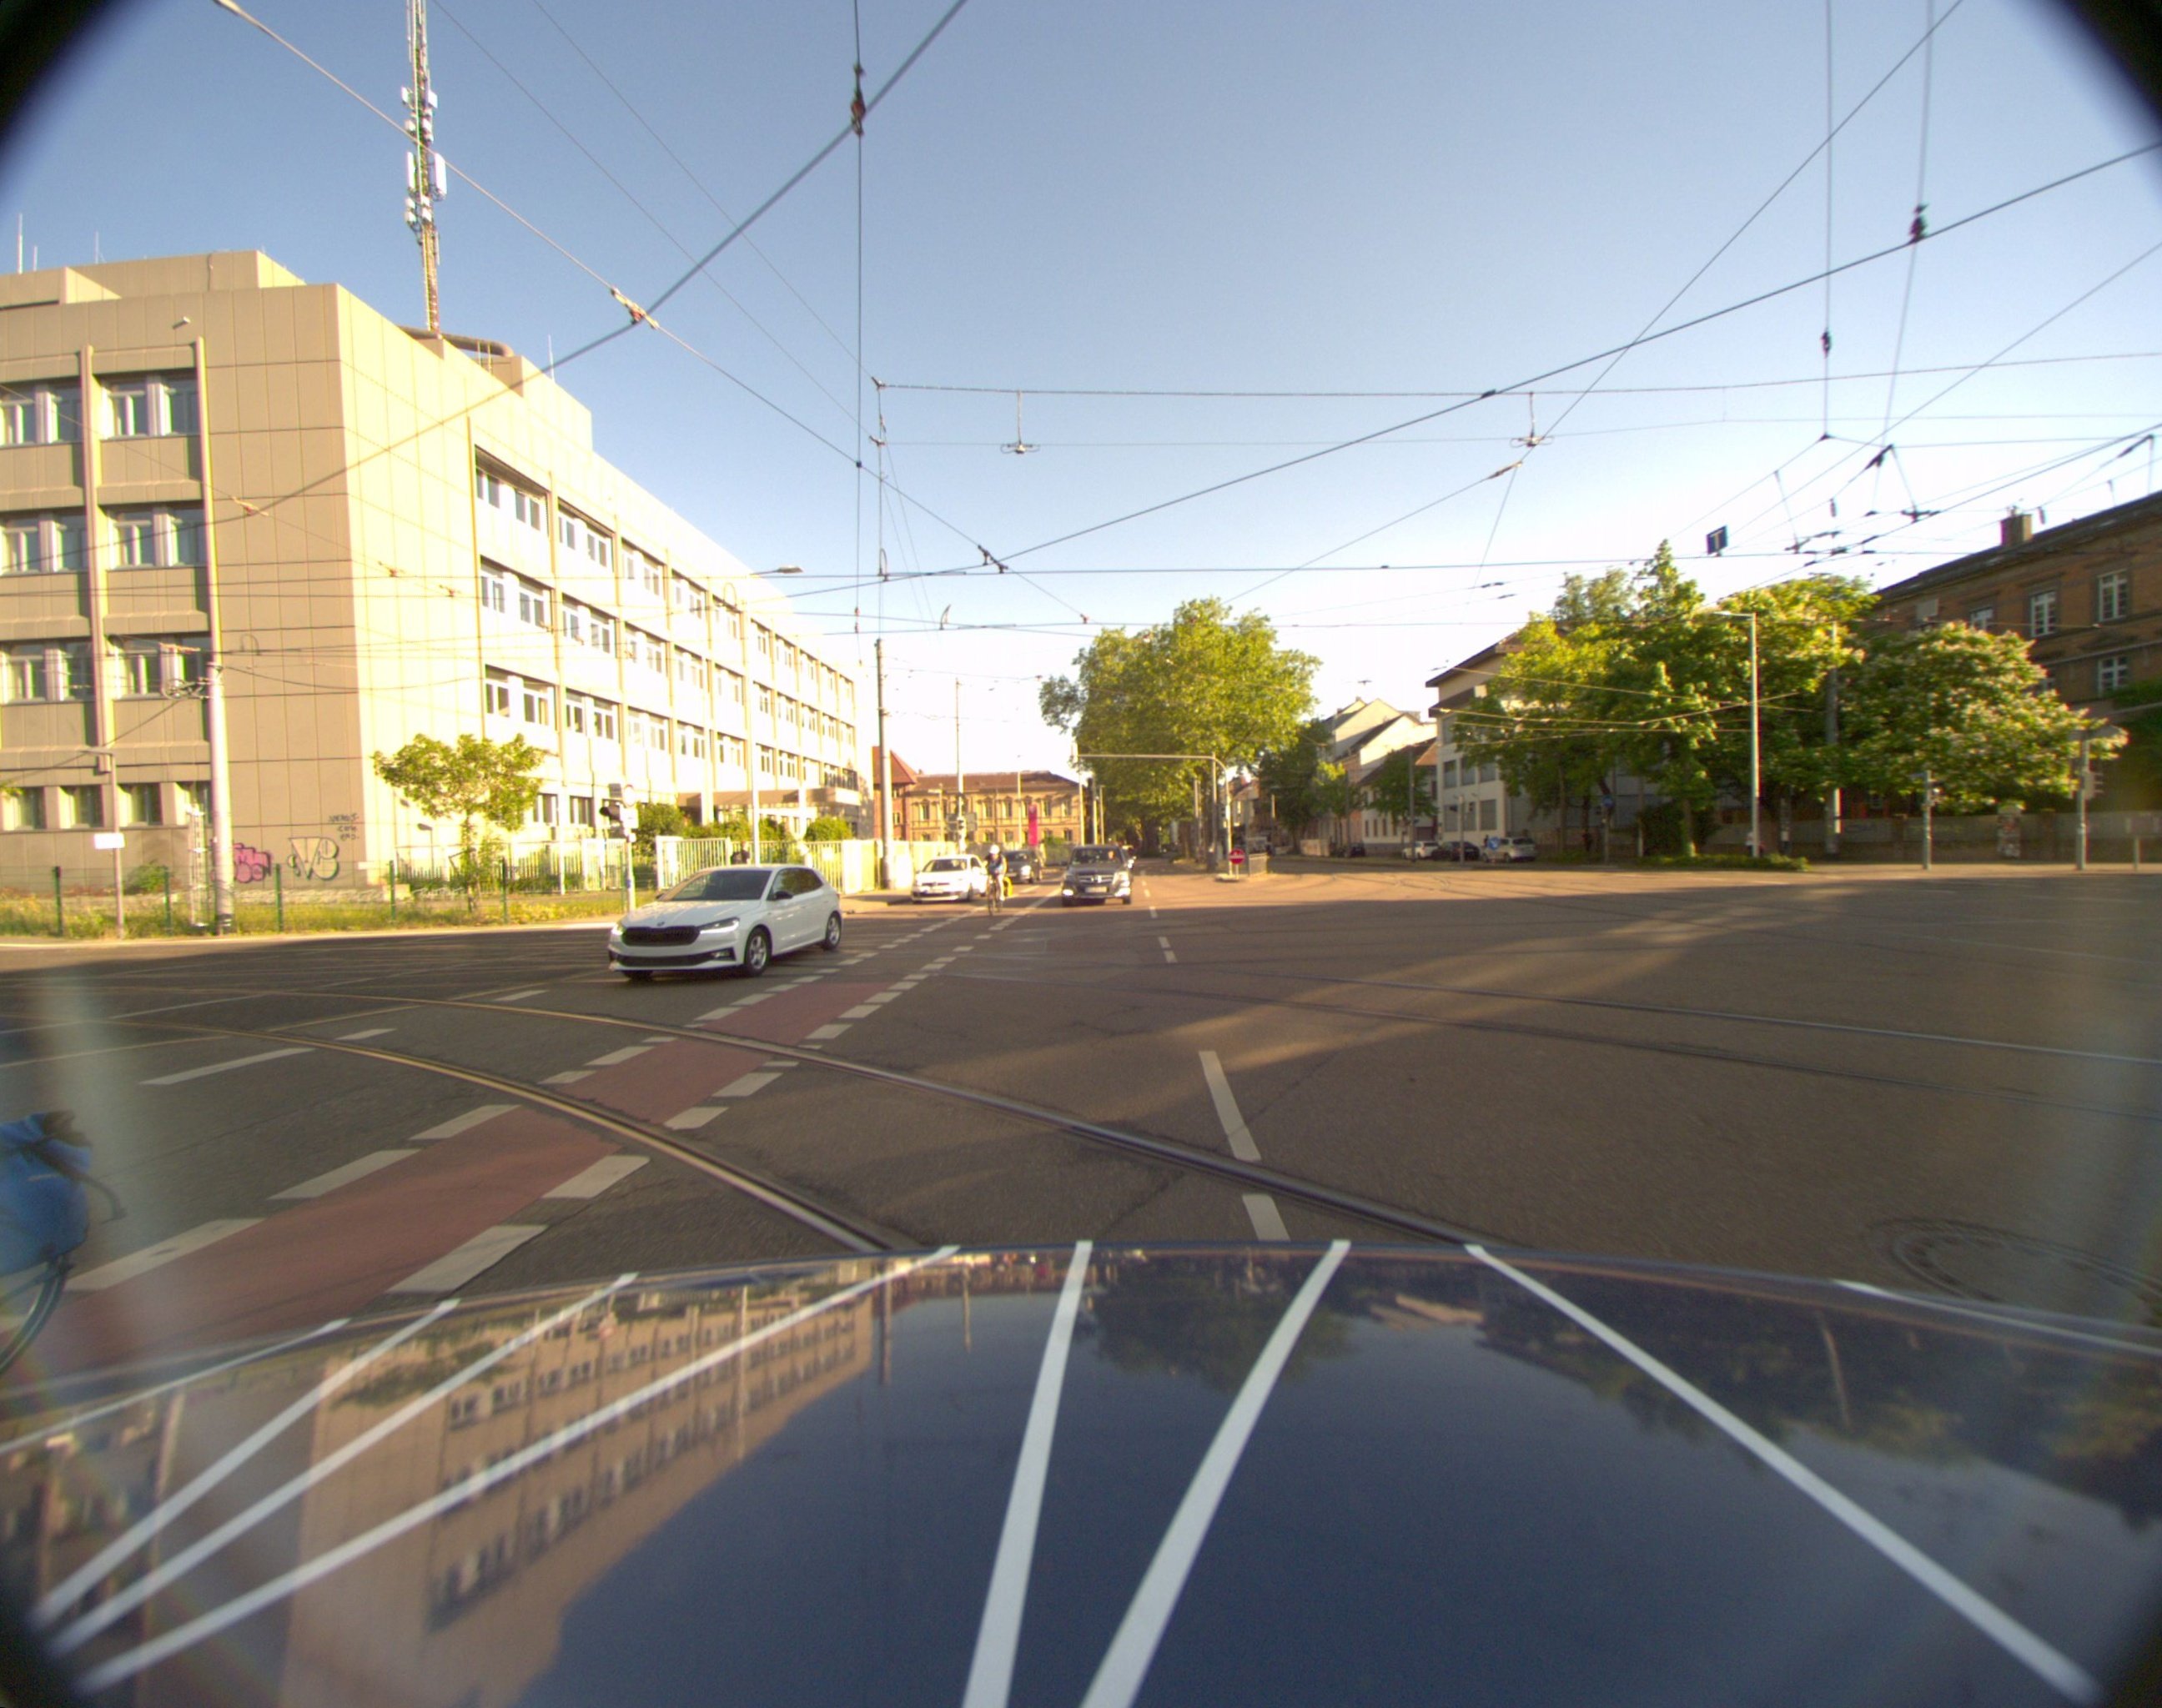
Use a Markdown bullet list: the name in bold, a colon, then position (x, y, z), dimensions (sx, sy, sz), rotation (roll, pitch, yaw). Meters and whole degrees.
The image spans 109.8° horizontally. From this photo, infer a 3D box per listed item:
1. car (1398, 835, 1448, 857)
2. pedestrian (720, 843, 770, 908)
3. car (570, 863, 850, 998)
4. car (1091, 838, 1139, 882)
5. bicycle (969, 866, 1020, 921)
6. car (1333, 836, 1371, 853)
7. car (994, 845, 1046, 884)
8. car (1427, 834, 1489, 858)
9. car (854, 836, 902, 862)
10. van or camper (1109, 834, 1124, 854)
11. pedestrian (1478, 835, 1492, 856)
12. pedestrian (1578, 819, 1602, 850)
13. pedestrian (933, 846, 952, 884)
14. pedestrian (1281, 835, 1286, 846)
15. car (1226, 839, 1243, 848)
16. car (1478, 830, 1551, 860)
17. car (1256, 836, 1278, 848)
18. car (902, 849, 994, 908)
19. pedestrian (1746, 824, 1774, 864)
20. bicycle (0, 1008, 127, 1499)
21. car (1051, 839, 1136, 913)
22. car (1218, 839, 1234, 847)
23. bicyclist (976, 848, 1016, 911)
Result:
- **car**: position (26.651, -0.619, 59.374), dimensions (2.087, 1.481, 3.996), rotation (-4, 1, 0)
- **pedestrian**: position (-9.658, 0.591, 21.834), dimensions (1.084, 1.802, 0.734), rotation (-3, 2, -41)
- **car**: position (-4.887, 0.907, 10.771), dimensions (1.705, 1.381, 4.075), rotation (-3, 1, 4)
- **car**: position (1.506, 0.201, 32.965), dimensions (1.793, 1.694, 4.301), rotation (-4, 1, 3)
- **bicycle**: position (-2.018, 0.901, 18.088), dimensions (0.764, 1.138, 2.307), rotation (-1, 1, 4)
- **car**: position (27.121, -0.931, 76.066), dimensions (2.087, 1.462, 4.578), rotation (-4, 1, 0)
- **car**: position (-2.871, 0.453, 36.606), dimensions (1.793, 1.634, 4.301), rotation (-4, 1, 3)
- **car**: position (26.540, -0.570, 53.599), dimensions (2.087, 1.493, 4.456), rotation (-4, 1, 0)
- **car**: position (-14.936, -0.382, 56.240), dimensions (1.998, 1.832, 4.785), rotation (-1, 1, 3)
- **van or camper**: position (5.162, -1.471, 108.946), dimensions (1.998, 2.578, 5.626), rotation (-3, 1, 3)
- **pedestrian**: position (29.109, -0.620, 54.768), dimensions (0.537, 1.519, 0.711), rotation (-2, 1, -4)
- **pedestrian**: position (30.026, -1.144, 44.843), dimensions (0.735, 1.742, 1.019), rotation (-2, 1, 1)
- **pedestrian**: position (-6.539, 0.525, 35.856), dimensions (0.592, 1.752, 0.770), rotation (-1, 1, 8)
- **pedestrian**: position (32.038, -2.136, 120.053), dimensions (0.561, 1.799, 0.704), rotation (-2, 1, -5)
- **car**: position (28.348, -2.000, 140.456), dimensions (2.087, 1.531, 4.516), rotation (-4, 1, 0)
- **car**: position (26.547, -0.541, 46.702), dimensions (2.087, 1.610, 4.097), rotation (-4, 1, 0)
- **car**: position (28.768, -1.903, 117.581), dimensions (2.087, 1.664, 4.532), rotation (-4, 1, 0)
- **car**: position (-4.063, 0.694, 23.925), dimensions (1.793, 1.494, 4.301), rotation (-4, 1, 3)
- **pedestrian**: position (29.073, -0.439, 32.532), dimensions (0.569, 1.655, 0.631), rotation (-4, 1, 1)
- **bicycle**: position (-3.351, 1.122, 1.342), dimensions (0.651, 1.273, 1.967), rotation (-1, 1, 8)
- **car**: position (0.391, 0.485, 20.282), dimensions (1.908, 1.635, 4.516), rotation (-4, 1, 2)
- **car**: position (29.291, -2.183, 153.528), dimensions (2.087, 1.531, 5.104), rotation (-4, 1, 0)
- **bicyclist**: position (-2.027, 0.589, 18.125), dimensions (0.727, 1.414, 0.859), rotation (-3, 2, 4)
